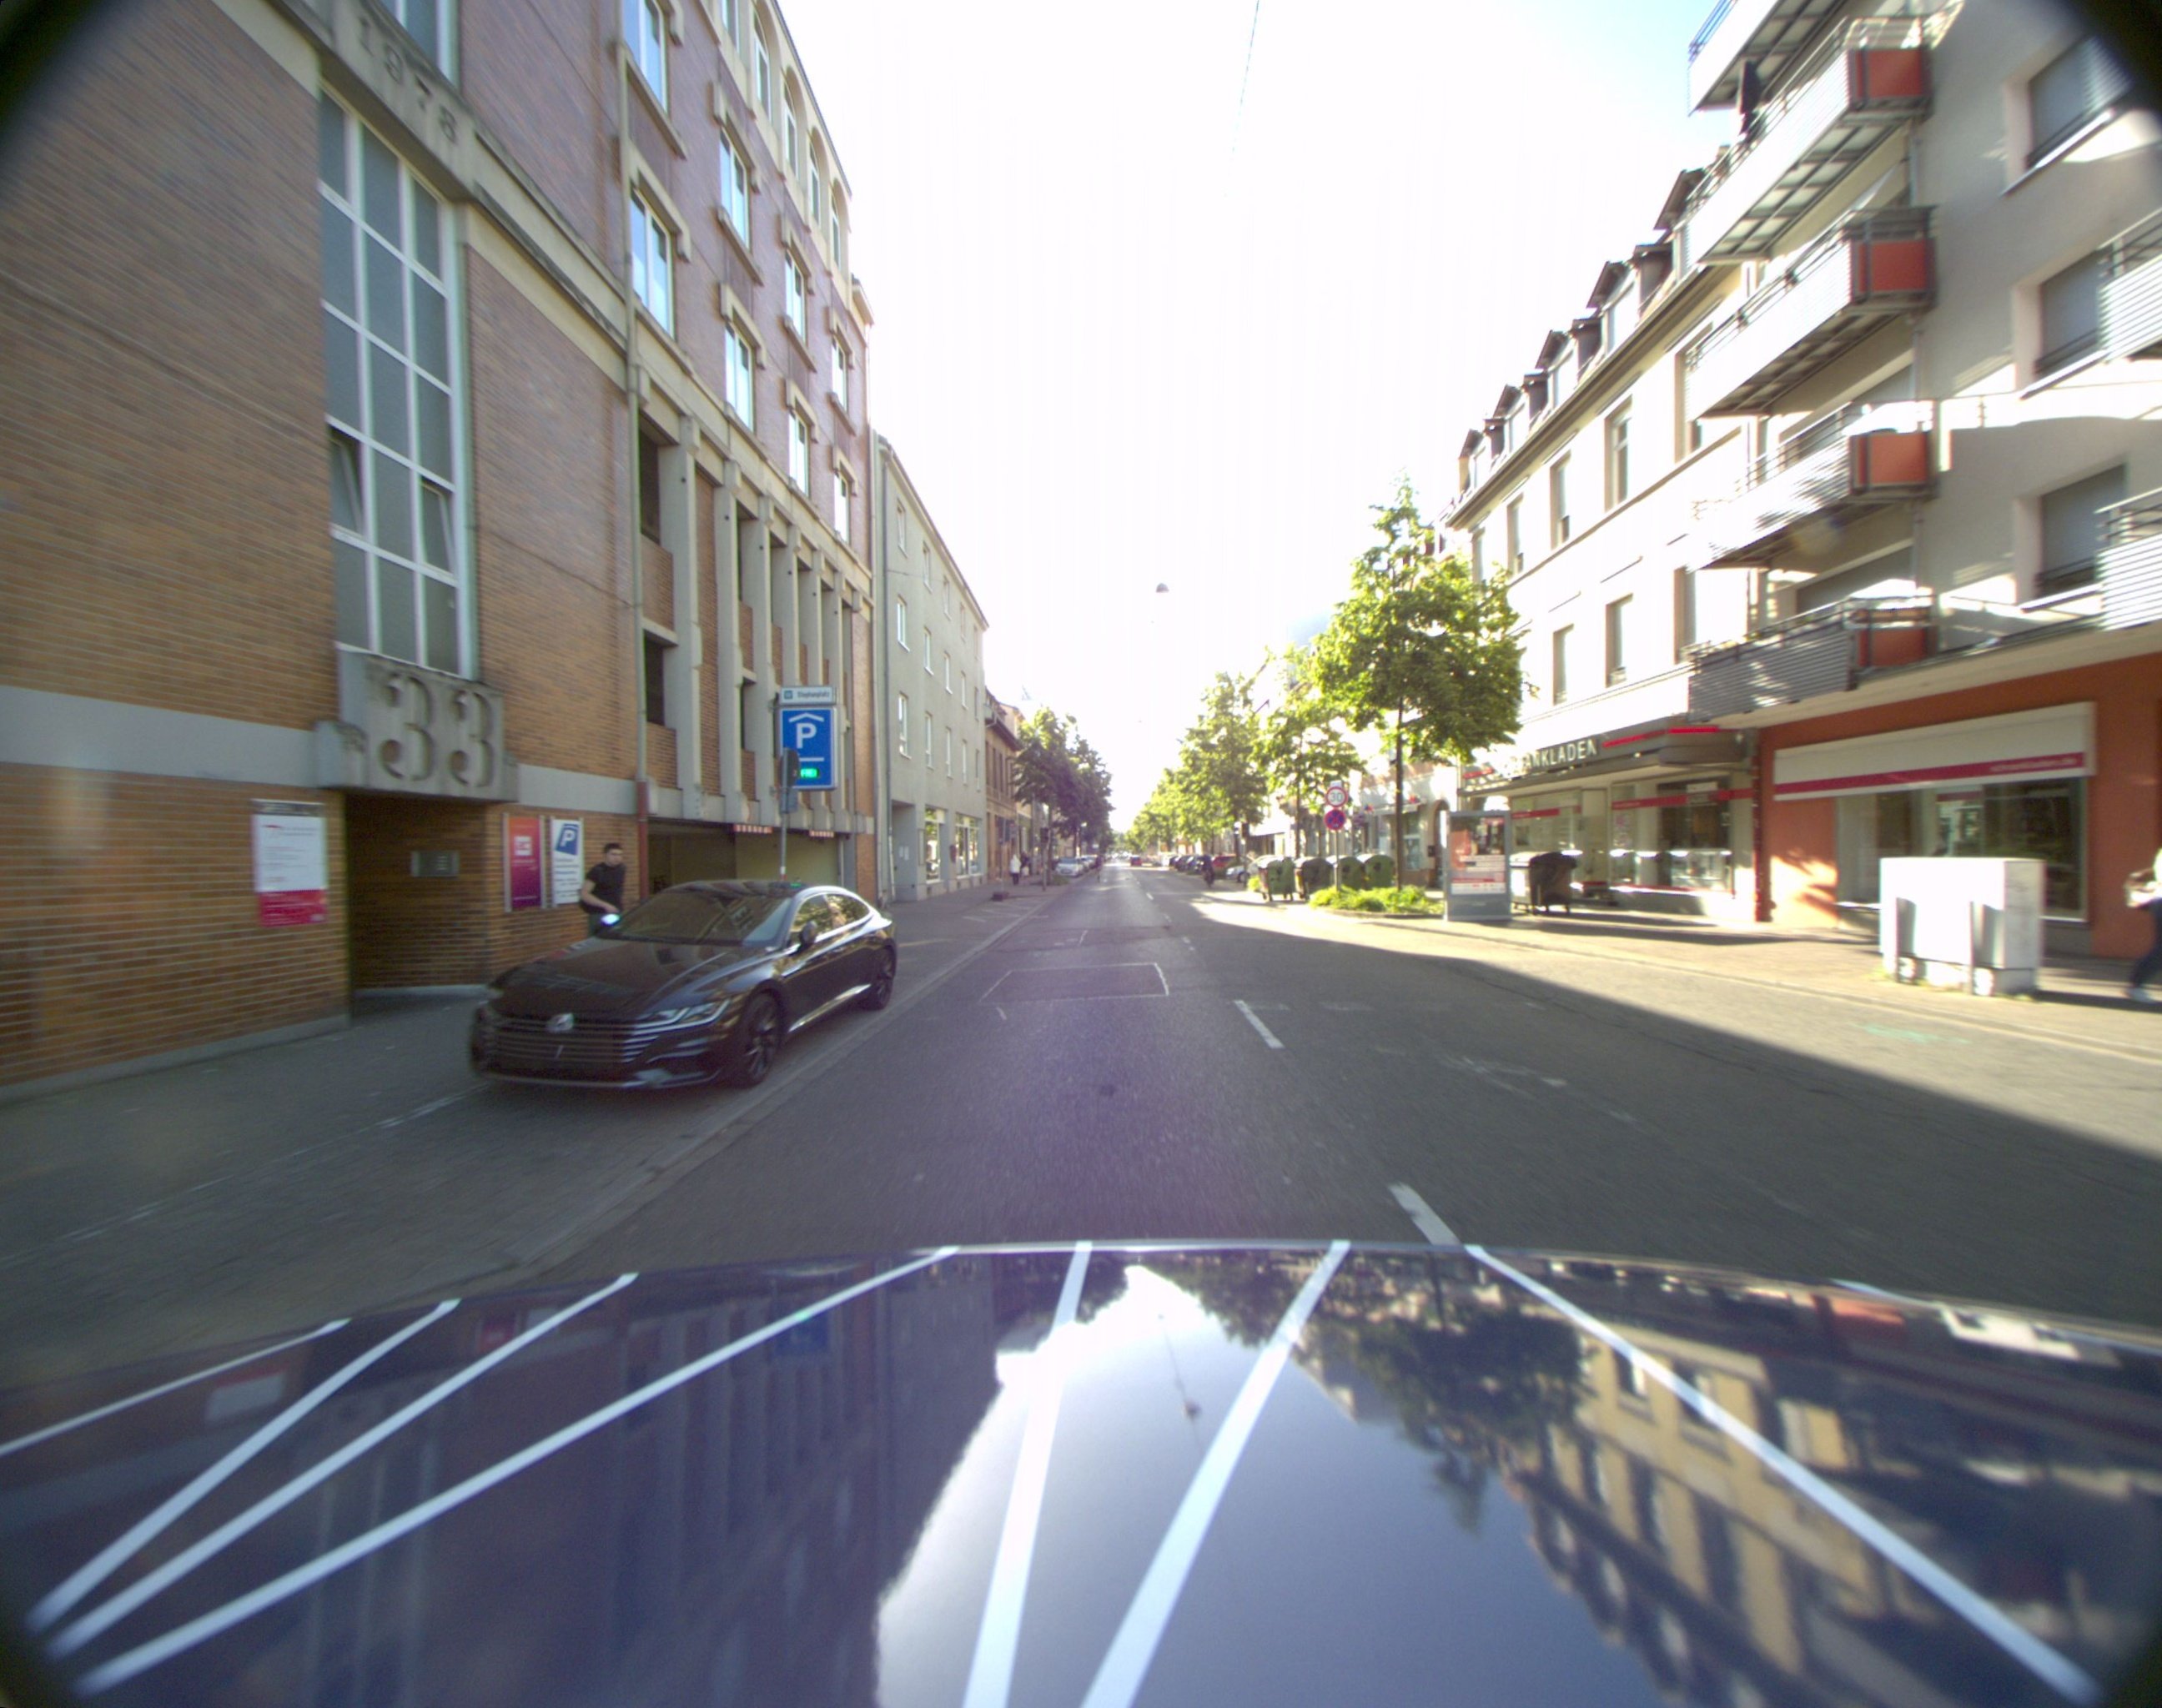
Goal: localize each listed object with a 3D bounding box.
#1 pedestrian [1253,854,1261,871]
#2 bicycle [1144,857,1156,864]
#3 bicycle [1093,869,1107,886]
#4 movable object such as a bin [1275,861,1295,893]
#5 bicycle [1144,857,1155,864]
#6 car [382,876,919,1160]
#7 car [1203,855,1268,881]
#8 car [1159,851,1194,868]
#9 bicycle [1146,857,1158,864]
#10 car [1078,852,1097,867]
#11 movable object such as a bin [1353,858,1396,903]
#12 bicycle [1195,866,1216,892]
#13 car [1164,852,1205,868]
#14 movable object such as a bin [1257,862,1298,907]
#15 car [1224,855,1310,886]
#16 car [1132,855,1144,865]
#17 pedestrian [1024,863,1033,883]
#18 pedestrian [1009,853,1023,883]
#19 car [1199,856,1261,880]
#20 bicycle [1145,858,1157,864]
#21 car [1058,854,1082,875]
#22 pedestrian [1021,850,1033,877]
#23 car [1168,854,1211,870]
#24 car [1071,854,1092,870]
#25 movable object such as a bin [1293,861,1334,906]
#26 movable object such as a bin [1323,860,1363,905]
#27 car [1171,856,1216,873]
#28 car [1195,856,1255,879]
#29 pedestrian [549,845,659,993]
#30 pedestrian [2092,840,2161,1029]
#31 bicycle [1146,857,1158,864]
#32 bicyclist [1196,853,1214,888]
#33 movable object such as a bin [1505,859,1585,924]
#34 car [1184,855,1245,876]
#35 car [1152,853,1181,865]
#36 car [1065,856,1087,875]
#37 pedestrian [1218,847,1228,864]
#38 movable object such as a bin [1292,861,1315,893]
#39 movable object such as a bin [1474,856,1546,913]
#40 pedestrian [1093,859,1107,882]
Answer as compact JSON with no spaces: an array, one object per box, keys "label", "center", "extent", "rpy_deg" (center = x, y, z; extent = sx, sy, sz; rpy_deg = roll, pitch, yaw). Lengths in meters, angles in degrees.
[{"label":"pedestrian","center":[14.682,0.726,63.277],"extent":[0.509,1.400,0.825],"rpy_deg":[-3,0,7]},{"label":"bicycle","center":[12.500,1.178,137.485],"extent":[2.006,1.023,0.473],"rpy_deg":[-3,1,-10]},{"label":"bicycle","center":[1.186,1.456,47.301],"extent":[0.805,0.958,1.997],"rpy_deg":[-3,-1,2]},{"label":"movable object such as a bin","center":[8.811,0.996,32.799],"extent":[0.636,1.333,0.805],"rpy_deg":[-1,1,2]},{"label":"bicycle","center":[12.420,1.163,137.912],"extent":[2.006,1.023,0.473],"rpy_deg":[-3,1,-10]},{"label":"car","center":[-3.141,1.053,7.056],"extent":[1.922,1.470,4.965],"rpy_deg":[2,0,3]},{"label":"car","center":[9.756,0.878,48.245],"extent":[3.757,1.459,1.740],"rpy_deg":[-2,0,2]},{"label":"car","center":[11.710,0.692,93.549],"extent":[4.115,1.825,2.039],"rpy_deg":[-2,0,3]},{"label":"bicycle","center":[12.744,1.164,135.963],"extent":[2.006,1.023,0.473],"rpy_deg":[-3,1,-10]},{"label":"car","center":[0.790,0.625,88.998],"extent":[1.998,1.680,4.517],"rpy_deg":[2,0,2]},{"label":"movable object such as a bin","center":[9.948,0.894,25.807],"extent":[1.044,1.463,1.143],"rpy_deg":[-1,0,2]},{"label":"bicycle","center":[5.940,1.182,36.333],"extent":[0.707,1.140,1.967],"rpy_deg":[-1,0,0]},{"label":"car","center":[11.502,0.663,84.504],"extent":[4.376,1.561,1.946],"rpy_deg":[-2,0,3]},{"label":"movable object such as a bin","center":[6.730,1.016,26.120],"extent":[1.044,1.463,1.452],"rpy_deg":[-1,0,2]},{"label":"car","center":[9.910,0.864,40.708],"extent":[4.212,1.459,1.740],"rpy_deg":[-2,0,5]},{"label":"car","center":[8.368,0.846,111.297],"extent":[1.662,1.526,3.761],"rpy_deg":[0,0,3]},{"label":"pedestrian","center":[-2.835,0.999,40.817],"extent":[0.394,1.027,0.740],"rpy_deg":[2,1,1]},{"label":"pedestrian","center":[-3.375,0.720,39.739],"extent":[0.582,1.550,1.021],"rpy_deg":[2,1,1]},{"label":"car","center":[9.906,0.926,50.774],"extent":[3.849,1.420,1.790],"rpy_deg":[-2,0,4]},{"label":"bicycle","center":[12.586,1.204,136.994],"extent":[2.006,1.023,0.473],"rpy_deg":[-3,1,-10]},{"label":"car","center":[-0.802,0.743,57.056],"extent":[1.617,1.520,3.061],"rpy_deg":[1,0,2]},{"label":"pedestrian","center":[-3.482,0.615,48.964],"extent":[0.624,1.755,0.771],"rpy_deg":[1,1,4]},{"label":"car","center":[11.618,0.819,81.840],"extent":[4.376,1.561,1.981],"rpy_deg":[-2,0,3]},{"label":"car","center":[0.095,0.744,75.432],"extent":[1.887,1.518,4.234],"rpy_deg":[1,0,2]},{"label":"movable object such as a bin","center":[7.848,0.976,25.733],"extent":[1.044,1.463,1.143],"rpy_deg":[-1,0,2]},{"label":"movable object such as a bin","center":[8.873,0.947,25.771],"extent":[0.966,1.463,1.143],"rpy_deg":[-1,1,2]},{"label":"car","center":[10.435,0.978,70.650],"extent":[3.790,1.450,1.781],"rpy_deg":[-2,0,-1]},{"label":"car","center":[10.038,0.924,53.182],"extent":[3.928,1.477,1.771],"rpy_deg":[-2,0,4]},{"label":"pedestrian","center":[-5.536,0.718,8.872],"extent":[0.693,1.626,0.889],"rpy_deg":[1,0,2]},{"label":"pedestrian","center":[9.816,0.704,6.607],"extent":[0.666,1.649,1.037],"rpy_deg":[-1,0,2]},{"label":"bicycle","center":[12.690,1.191,136.488],"extent":[2.006,1.023,0.473],"rpy_deg":[-3,1,-10]},{"label":"bicyclist","center":[5.927,0.784,36.343],"extent":[0.698,1.643,1.036],"rpy_deg":[-1,1,0]},{"label":"movable object such as a bin","center":[10.572,0.830,17.364],"extent":[1.044,1.396,1.314],"rpy_deg":[-1,0,2]},{"label":"car","center":[10.464,0.886,59.774],"extent":[4.504,1.450,1.790],"rpy_deg":[-3,0,0]},{"label":"car","center":[11.990,0.708,106.215],"extent":[3.788,1.455,1.710],"rpy_deg":[-2,0,0]},{"label":"car","center":[-0.396,0.943,63.559],"extent":[1.617,1.520,4.235],"rpy_deg":[2,0,2]},{"label":"pedestrian","center":[15.224,0.161,81.254],"extent":[0.776,1.756,0.763],"rpy_deg":[-6,1,1]},{"label":"movable object such as a bin","center":[9.602,0.997,32.821],"extent":[0.756,1.333,0.805],"rpy_deg":[-1,1,2]},{"label":"movable object such as a bin","center":[10.574,0.722,18.769],"extent":[1.044,1.337,1.314],"rpy_deg":[-1,0,2]},{"label":"pedestrian","center":[1.166,1.030,47.278],"extent":[0.803,1.381,0.931],"rpy_deg":[-3,0,1]}]
